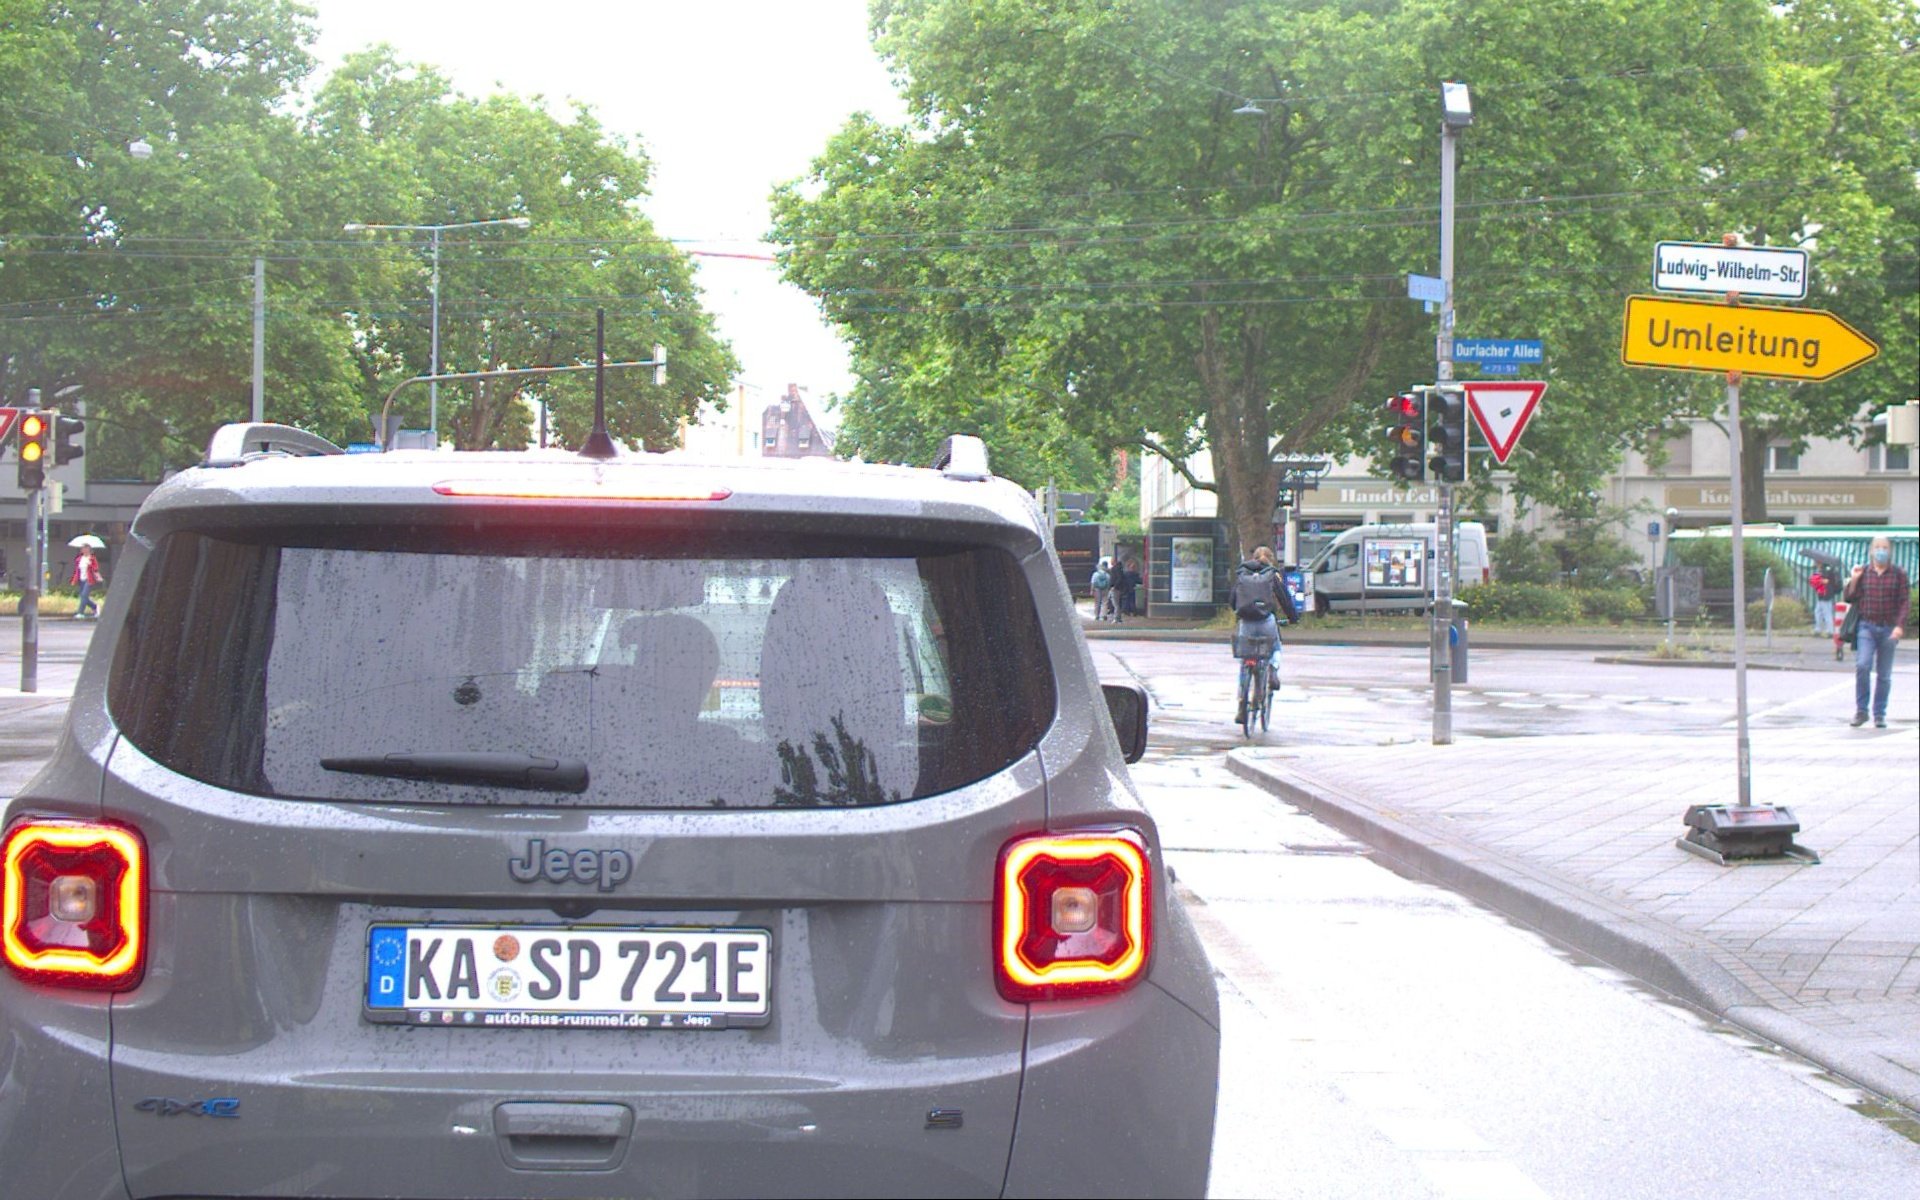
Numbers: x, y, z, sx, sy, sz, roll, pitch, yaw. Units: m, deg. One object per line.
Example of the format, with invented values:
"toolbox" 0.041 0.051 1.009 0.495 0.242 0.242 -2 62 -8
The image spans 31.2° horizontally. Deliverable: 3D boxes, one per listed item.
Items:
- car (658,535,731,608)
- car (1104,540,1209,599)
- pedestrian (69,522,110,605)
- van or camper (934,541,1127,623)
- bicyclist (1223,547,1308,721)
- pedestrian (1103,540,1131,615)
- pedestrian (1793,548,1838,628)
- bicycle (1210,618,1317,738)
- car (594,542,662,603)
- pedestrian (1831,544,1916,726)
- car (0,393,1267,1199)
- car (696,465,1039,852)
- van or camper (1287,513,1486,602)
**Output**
"car" -6.526 -0.706 84.425 1.721 1.733 3.730 0 1 -5
"car" 6.813 -1.057 119.176 3.438 2.007 1.547 0 0 13
"pedestrian" -19.139 -0.798 75.568 0.619 1.820 0.694 0 1 13
"van or camper" 2.556 -0.665 124.764 6.535 2.902 2.491 1 1 24
"bicyclist" 2.881 0.310 32.373 0.687 1.612 0.883 0 1 12
"pedestrian" 4.225 -0.608 92.498 0.651 2.007 0.482 1 1 12
"pedestrian" 16.965 -0.237 68.153 0.674 1.548 0.760 1 -1 27
"bicycle" 2.877 0.714 32.361 0.692 1.018 2.657 0 1 12
"car" -9.189 -0.775 95.200 1.813 1.665 3.921 0 1 -5
"pedestrian" 8.956 0.333 33.717 0.786 1.753 0.945 0 1 14
"car" -0.566 0.561 6.172 1.775 1.681 3.848 -1 1 -2
"car" -0.521 0.273 19.884 1.770 2.007 4.000 0 1 -1
"van or camper" 11.731 -1.182 94.803 5.260 2.307 2.090 1 1 3
